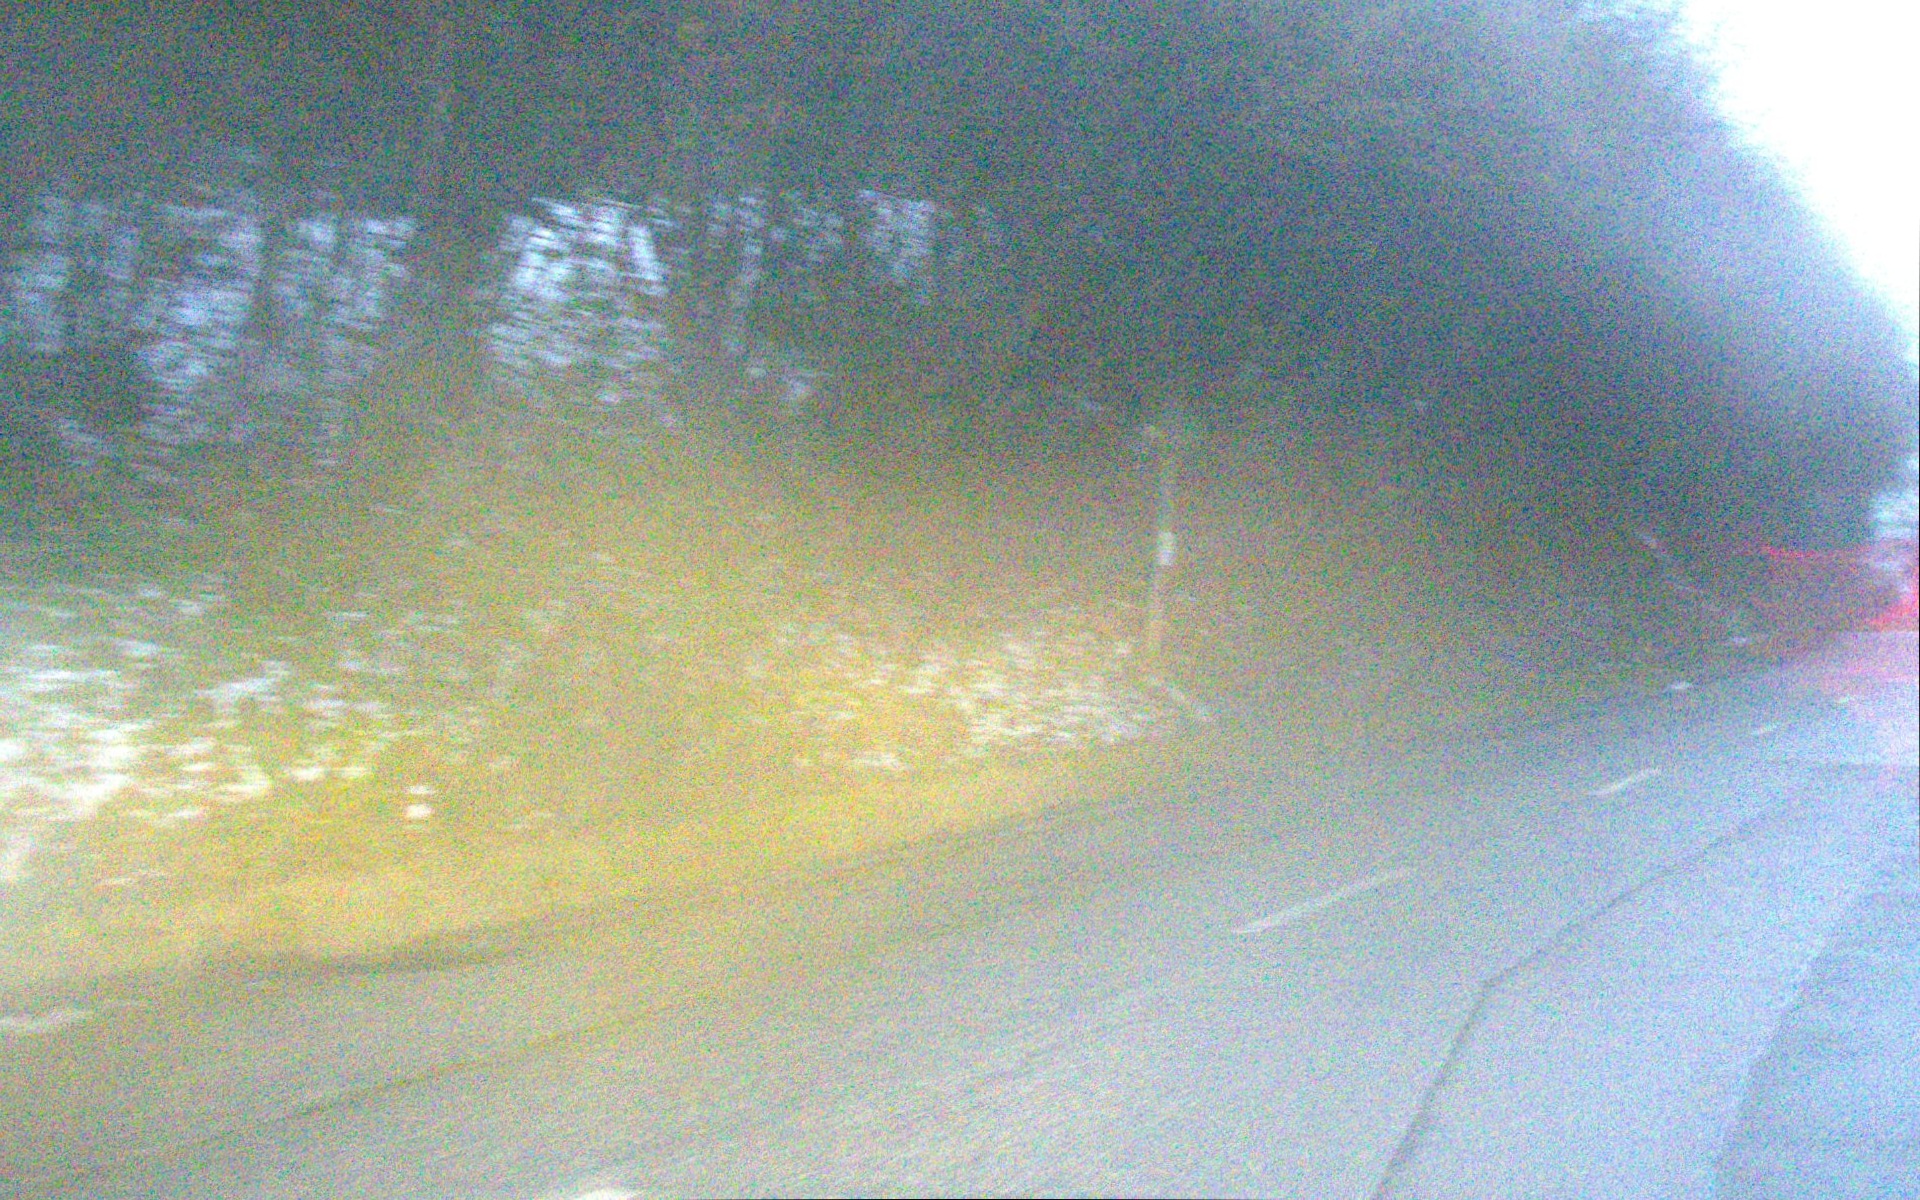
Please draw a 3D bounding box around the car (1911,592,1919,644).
[{"bbox_3d":[32.476,0.664,113.411,1.807,1.612,3.996,3,-1,19],"label":"car"}]
